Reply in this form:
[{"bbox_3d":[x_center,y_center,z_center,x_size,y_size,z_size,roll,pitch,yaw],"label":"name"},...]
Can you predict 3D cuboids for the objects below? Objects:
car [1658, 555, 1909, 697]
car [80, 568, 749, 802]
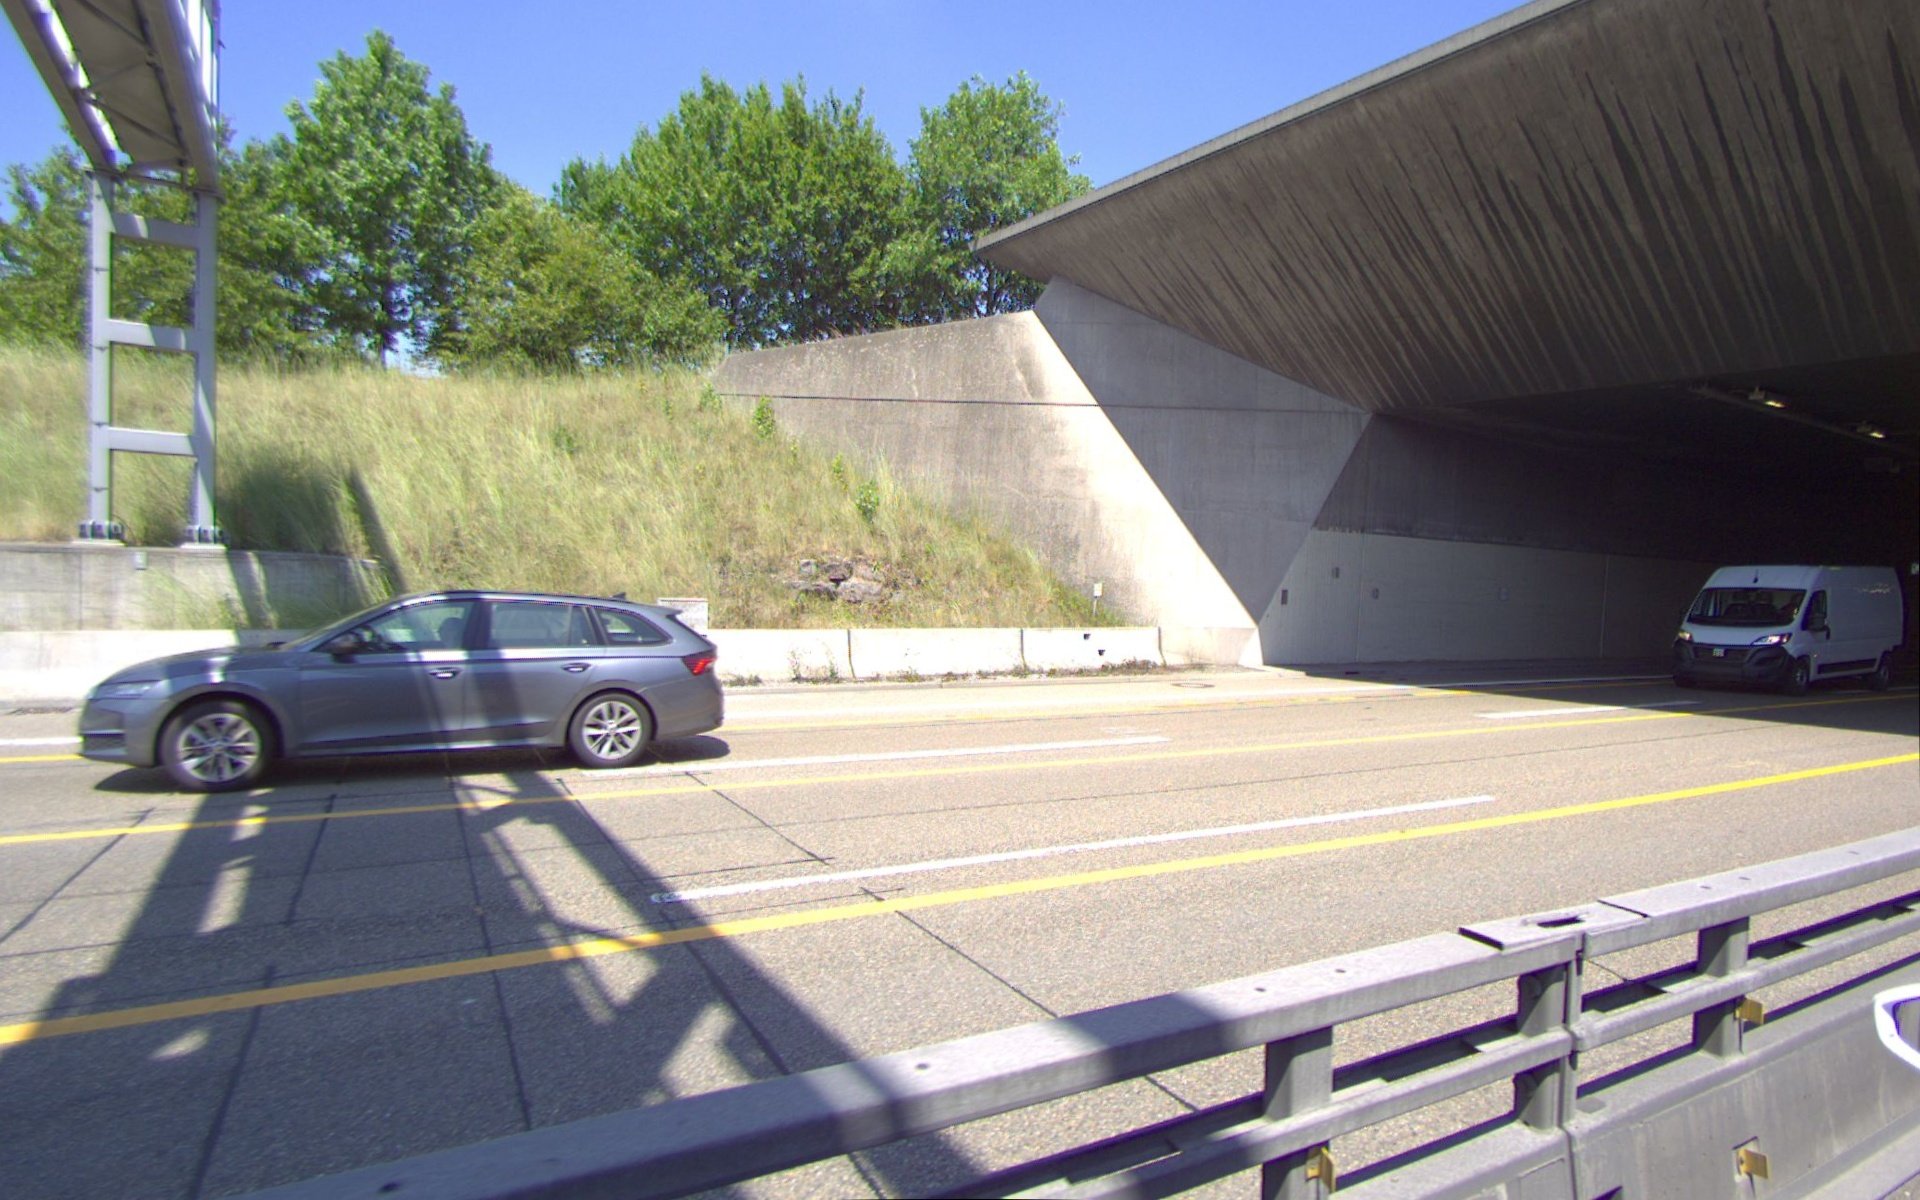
[{"bbox_3d":[16.814,0.512,20.414,5.970,2.548,1.984,1,0,-30],"label":"car"},{"bbox_3d":[-4.243,0.590,8.501,4.509,1.536,1.765,1,0,-30],"label":"car"}]
